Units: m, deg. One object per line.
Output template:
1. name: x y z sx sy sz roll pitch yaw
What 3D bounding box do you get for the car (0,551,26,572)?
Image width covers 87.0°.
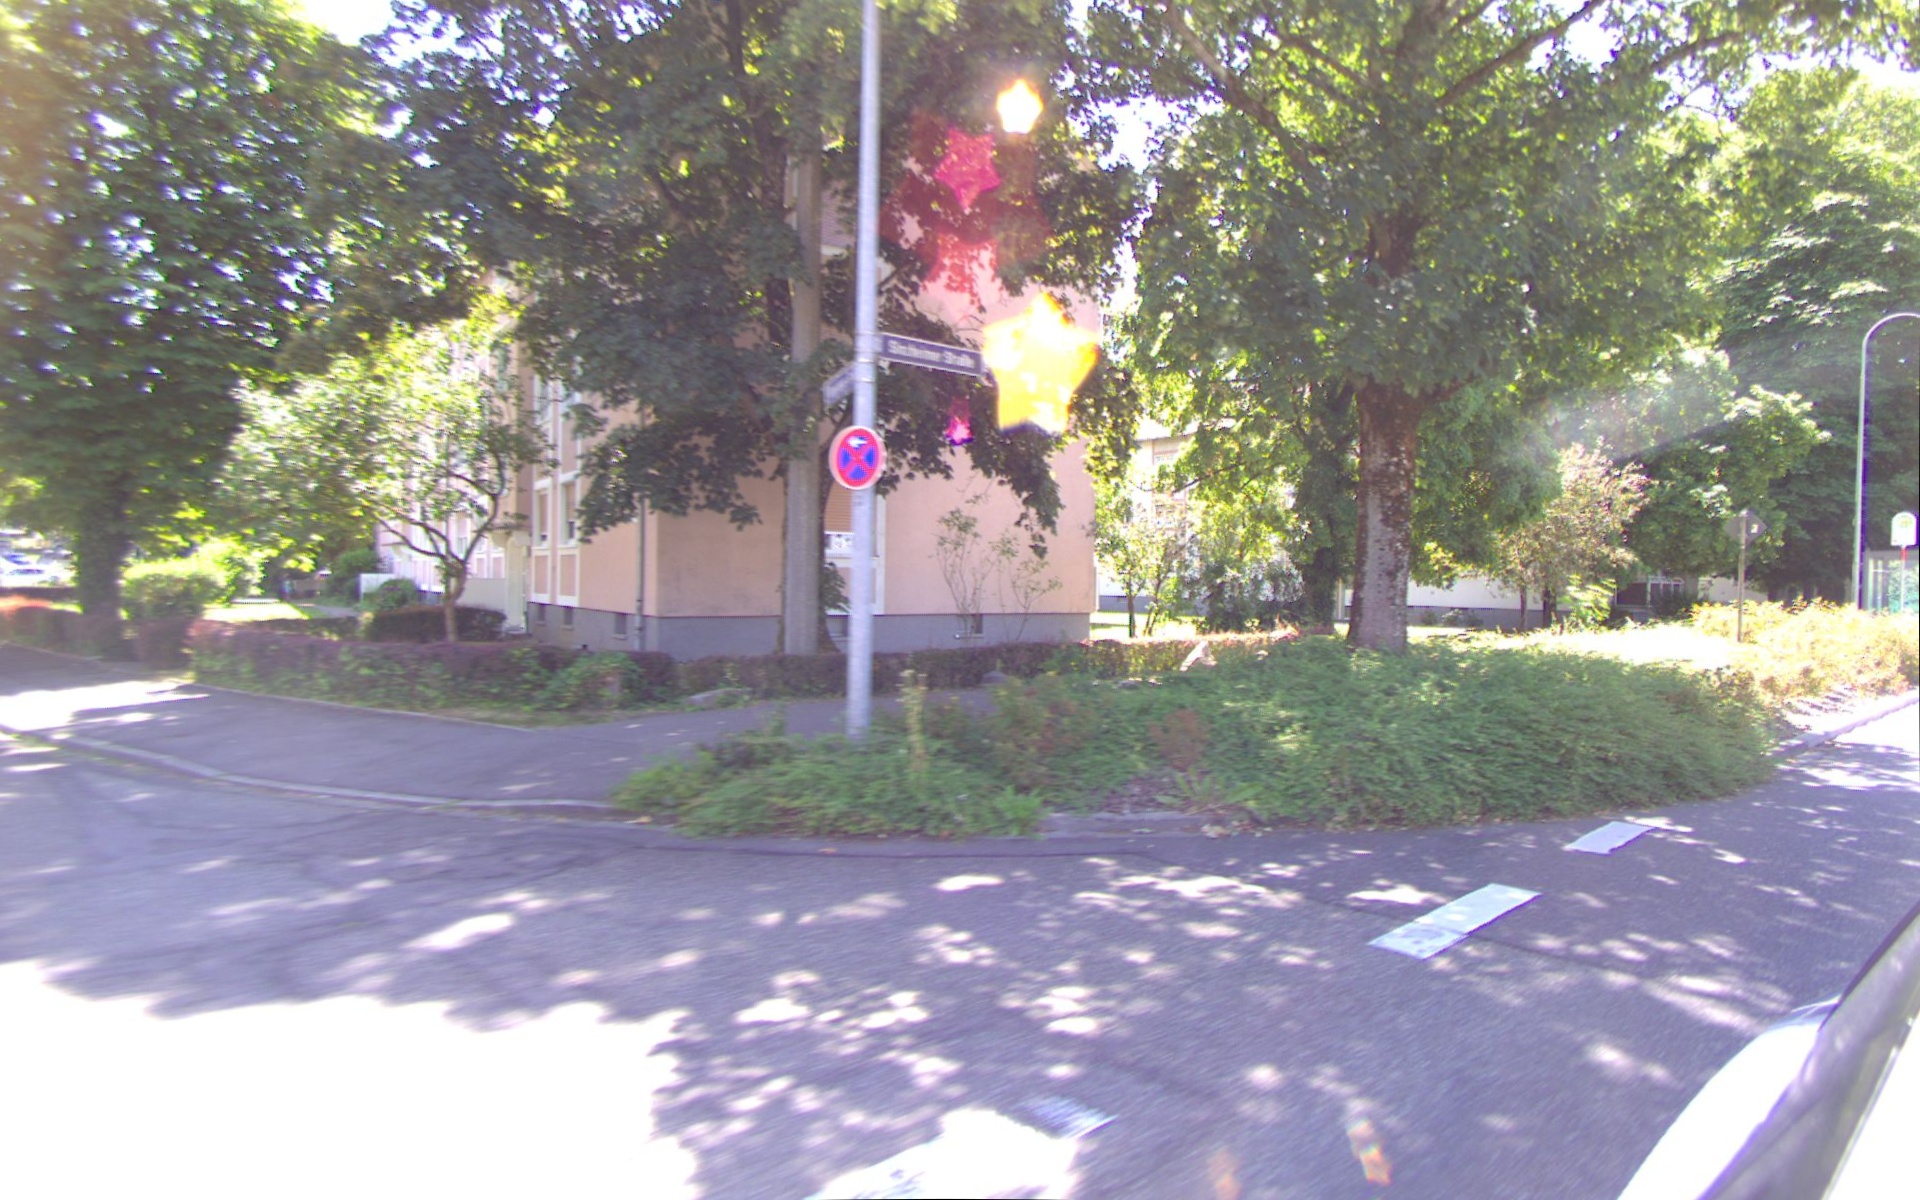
1. car: -68.446 -2.699 71.136 3.776 1.456 1.712 -1 2 -30

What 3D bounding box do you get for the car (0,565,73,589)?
1. car: -56.429 -1.386 61.262 3.772 1.456 1.713 0 2 -20
